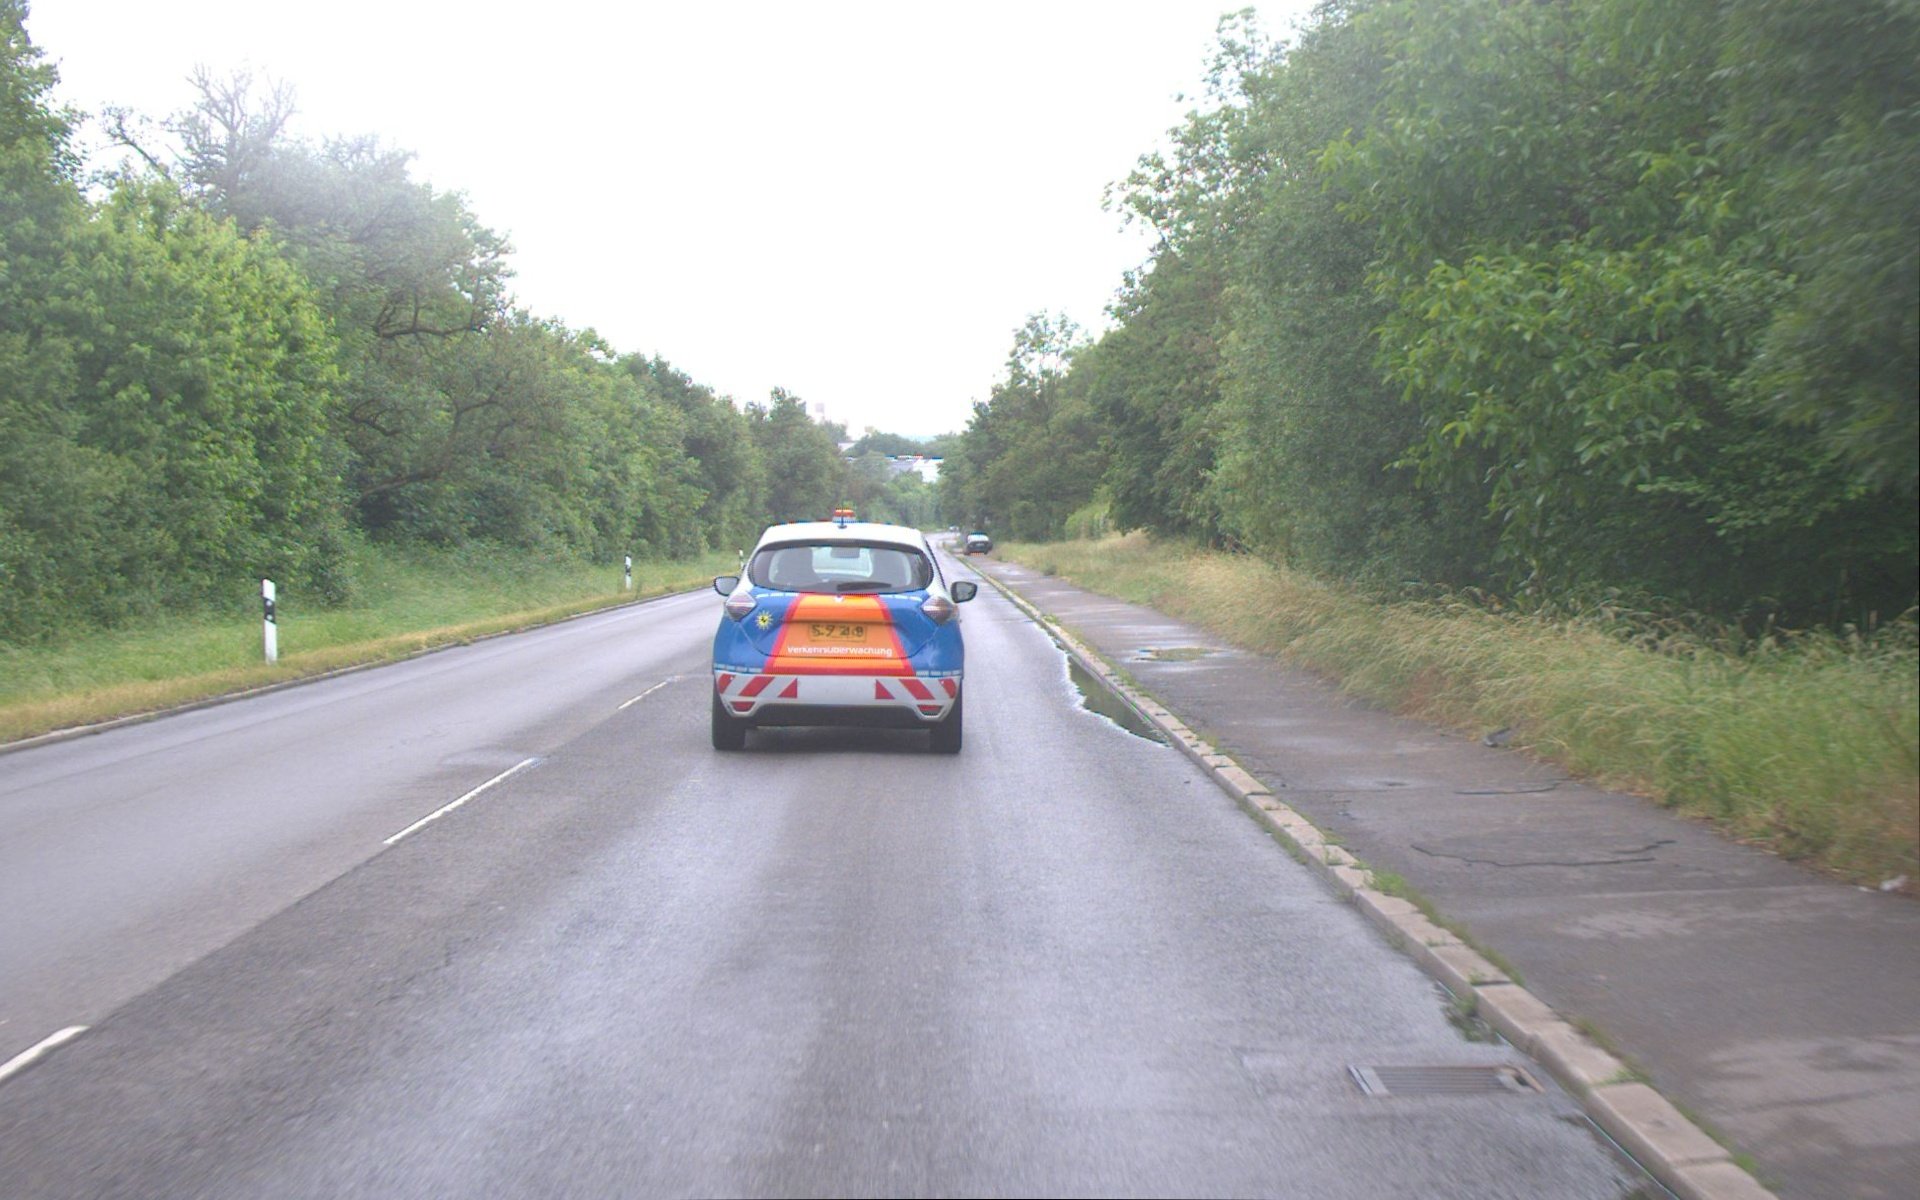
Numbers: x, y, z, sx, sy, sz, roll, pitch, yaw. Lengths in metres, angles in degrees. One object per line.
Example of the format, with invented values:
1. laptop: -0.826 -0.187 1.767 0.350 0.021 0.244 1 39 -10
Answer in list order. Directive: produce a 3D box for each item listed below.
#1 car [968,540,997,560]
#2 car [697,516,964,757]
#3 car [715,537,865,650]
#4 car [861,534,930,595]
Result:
1. car: 1.565 -3.481 240.527 1.993 1.371 4.000 -1 1 0
2. car: -0.877 0.197 24.521 1.752 1.550 3.793 0 2 -1
3. car: -2.022 -0.104 41.711 1.598 1.282 3.476 -1 1 0
4. car: -1.939 -1.101 104.106 1.941 1.717 4.063 -2 2 0
